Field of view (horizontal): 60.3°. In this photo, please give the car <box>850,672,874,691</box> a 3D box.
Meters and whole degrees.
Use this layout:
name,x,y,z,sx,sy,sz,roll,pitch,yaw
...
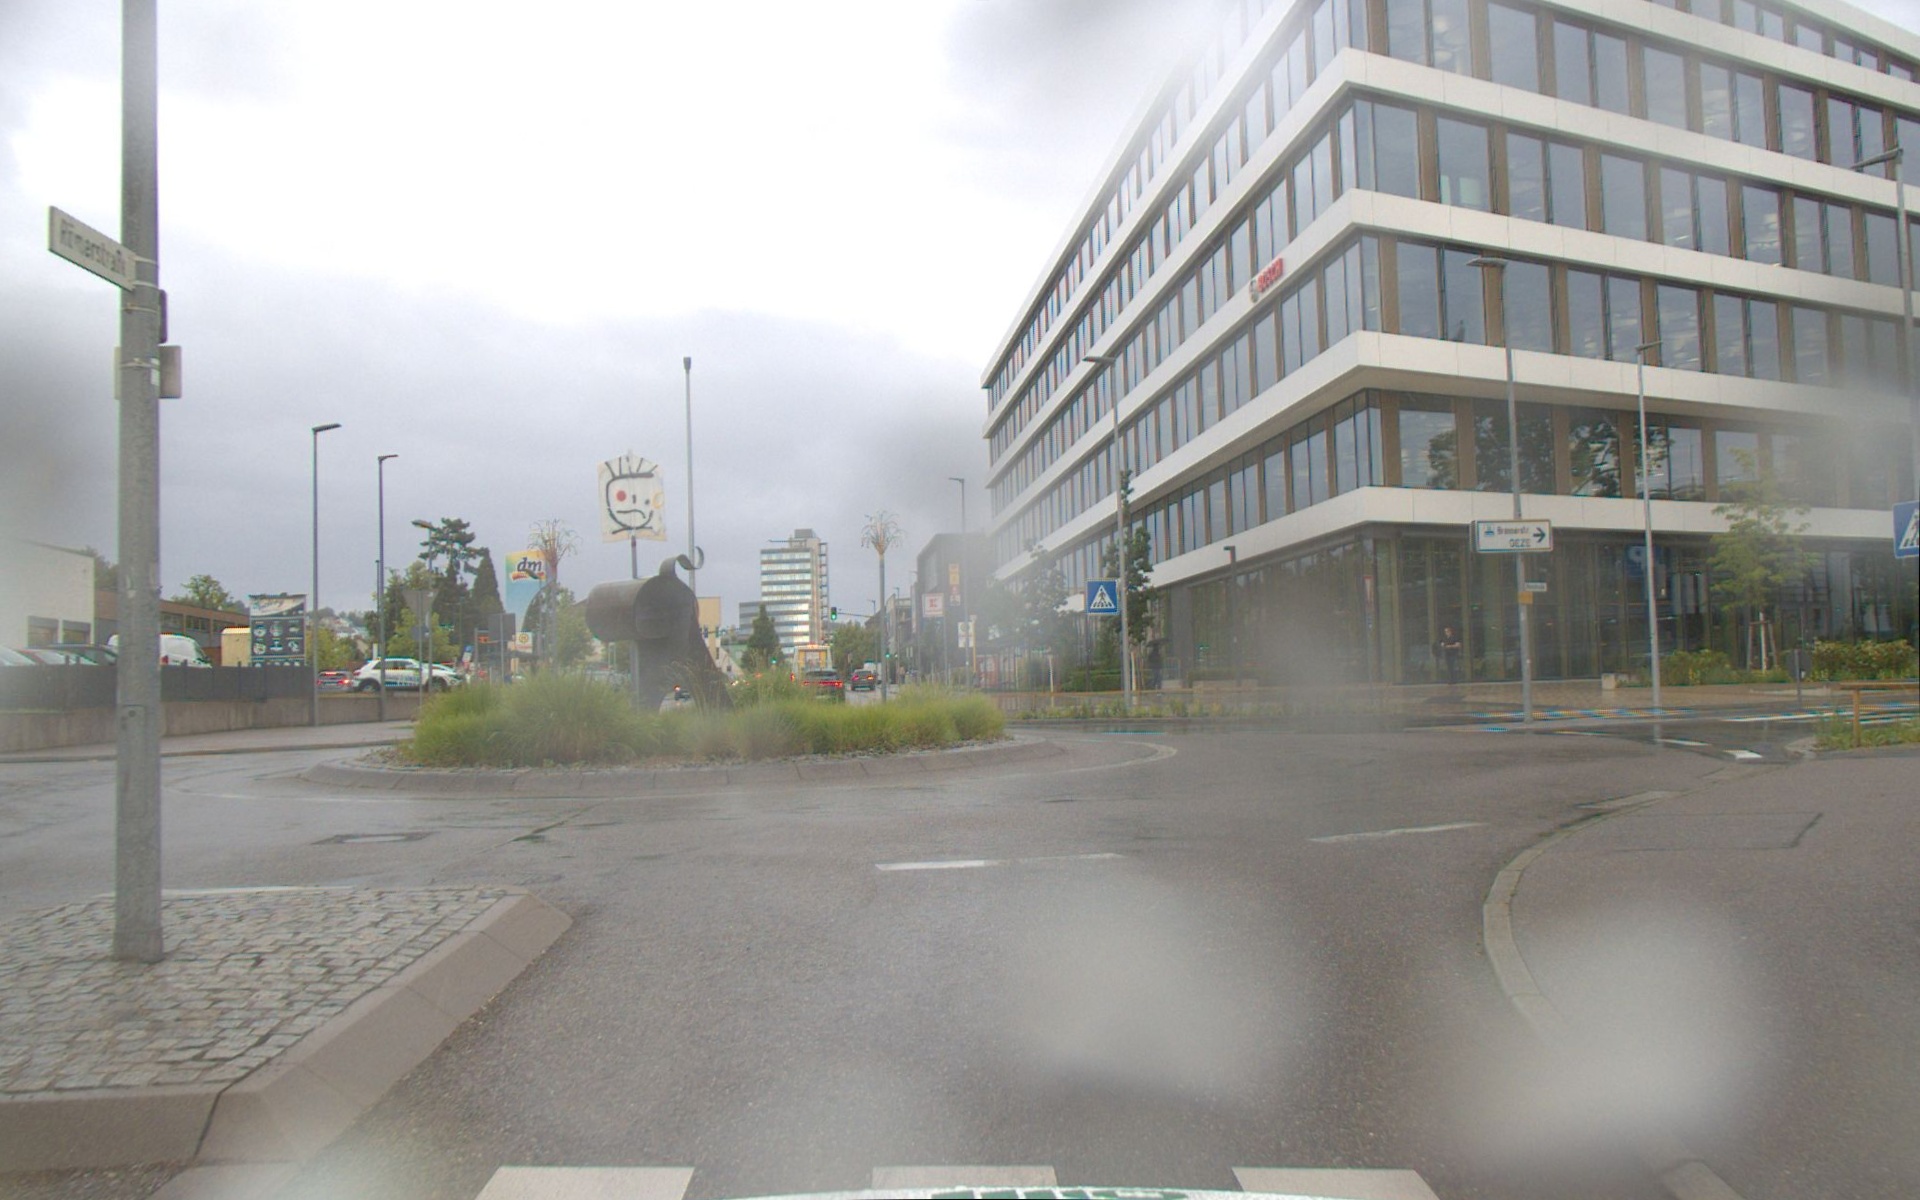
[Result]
name,x,y,z,sx,sy,sz,roll,pitch,yaw
car,-7.962,6.650,134.646,1.758,1.434,4.214,-1,-3,-1

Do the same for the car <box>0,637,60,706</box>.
name,x,y,z,sx,sy,sz,roll,pitch,yaw
car,-21.620,1.580,35.762,3.462,1.445,1.427,-1,-3,-7

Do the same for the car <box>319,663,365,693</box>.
name,x,y,z,sx,sy,sz,roll,pitch,yaw
car,-27.657,3.486,74.082,1.271,1.218,2.702,-1,0,-6

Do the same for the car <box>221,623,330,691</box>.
name,x,y,z,sx,sy,sz,roll,pitch,yaw
car,-22.588,1.838,54.815,1.955,2.049,4.994,-1,0,-6

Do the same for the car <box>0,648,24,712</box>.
name,x,y,z,sx,sy,sz,roll,pitch,yaw
car,-21.157,1.638,33.298,3.462,1.308,1.997,-1,-3,-7

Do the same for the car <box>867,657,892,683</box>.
name,x,y,z,sx,sy,sz,roll,pitch,yaw
car,-7.040,6.079,144.391,1.953,2.049,4.999,-1,0,-1

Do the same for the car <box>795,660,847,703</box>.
name,x,y,z,sx,sy,sz,roll,pitch,yaw
car,-4.862,2.889,58.245,1.759,1.434,3.418,-1,-3,-4

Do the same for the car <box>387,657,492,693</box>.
name,x,y,z,sx,sy,sz,roll,pitch,yaw
car,-21.993,3.179,69.950,3.944,1.445,1.765,-1,-3,-7

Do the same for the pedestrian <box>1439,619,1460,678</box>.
name,x,y,z,sx,sy,sz,roll,pitch,yaw
pedestrian,15.583,1.553,52.652,0.581,1.876,0.454,-2,-4,17

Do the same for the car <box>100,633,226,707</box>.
name,x,y,z,sx,sy,sz,roll,pitch,yaw
car,-24.479,2.108,51.029,1.956,2.049,4.992,-1,0,-7

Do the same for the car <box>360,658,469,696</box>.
name,x,y,z,sx,sy,sz,roll,pitch,yaw
car,-22.268,3.154,67.665,3.944,1.445,1.765,-1,-3,-7

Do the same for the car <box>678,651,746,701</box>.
name,x,y,z,sx,sy,sz,roll,pitch,yaw
car,-7.487,2.321,50.115,1.562,1.434,3.498,-1,-3,-1

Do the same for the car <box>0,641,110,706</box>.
name,x,y,z,sx,sy,sz,roll,pitch,yaw
car,-21.831,1.732,38.353,3.462,1.445,1.427,-1,-3,-7

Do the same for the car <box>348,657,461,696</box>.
name,x,y,z,sx,sy,sz,roll,pitch,yaw
car,-22.015,3.035,65.670,3.944,1.445,1.765,-1,-3,-7

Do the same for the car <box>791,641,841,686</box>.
name,x,y,z,sx,sy,sz,roll,pitch,yaw
car,-6.577,2.953,75.972,1.953,1.937,3.998,-1,-3,-1
